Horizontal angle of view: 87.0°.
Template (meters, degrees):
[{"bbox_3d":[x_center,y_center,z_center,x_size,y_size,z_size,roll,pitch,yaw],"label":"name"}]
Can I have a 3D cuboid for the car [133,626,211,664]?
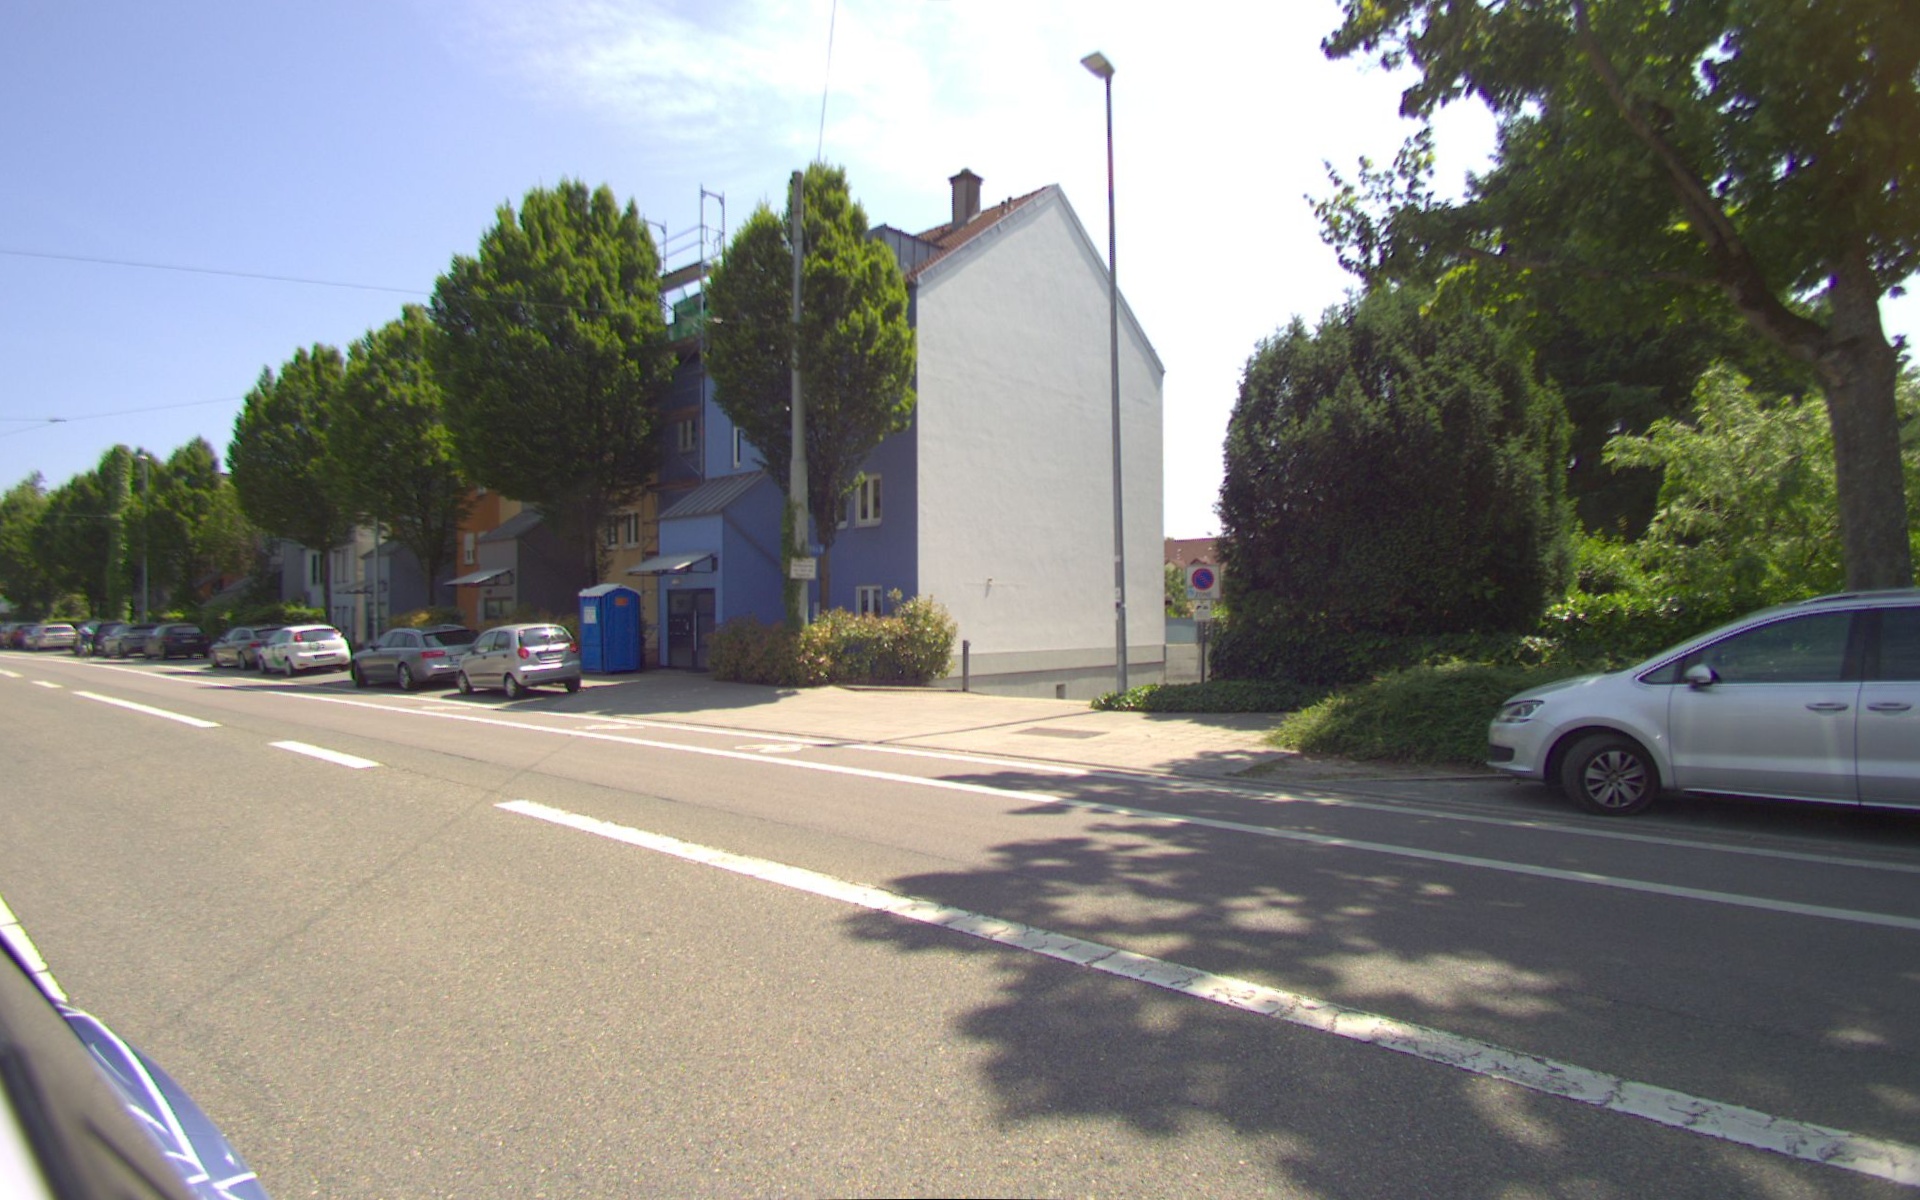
[{"bbox_3d":[-33.469,1.895,42.934,4.254,1.443,1.732,-1,1,40],"label":"car"}]

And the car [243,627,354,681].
[{"bbox_3d":[-21.024,1.660,32.099,4.417,1.453,1.729,-2,3,41],"label":"car"}]

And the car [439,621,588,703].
[{"bbox_3d":[-9.726,1.286,21.964,3.447,1.506,1.577,-2,3,41],"label":"car"}]

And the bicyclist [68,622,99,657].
[{"bbox_3d":[-37.065,1.667,42.795,1.123,1.442,0.728,-1,-5,38],"label":"bicyclist"}]

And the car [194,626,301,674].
[{"bbox_3d":[-25.104,1.723,35.583,4.744,1.440,1.688,-2,3,38],"label":"car"}]

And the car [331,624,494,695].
[{"bbox_3d":[-13.806,1.455,25.373,5.129,1.461,1.769,-2,2,40],"label":"car"}]

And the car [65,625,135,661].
[{"bbox_3d":[-42.271,2.085,49.714,4.142,1.601,1.750,-2,0,38],"label":"car"}]

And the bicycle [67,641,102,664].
[{"bbox_3d":[-37.039,2.215,42.794,2.240,0.958,0.695,-2,-4,39],"label":"bicycle"}]

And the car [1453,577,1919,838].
[{"bbox_3d":[6.474,0.702,7.461,4.778,1.677,1.853,-2,-1,41],"label":"car"}]

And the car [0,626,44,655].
[{"bbox_3d":[-56.020,2.417,60.082,3.673,1.606,1.586,-2,0,35],"label":"car"}]

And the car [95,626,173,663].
[{"bbox_3d":[-37.691,2.001,46.124,4.752,1.507,1.807,-2,0,39],"label":"car"}]

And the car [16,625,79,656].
[{"bbox_3d":[-51.164,2.279,56.713,4.490,1.594,1.823,-2,0,38],"label":"car"}]

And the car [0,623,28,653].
[{"bbox_3d":[-60.181,2.342,63.226,4.548,1.807,1.976,-1,-1,35],"label":"car"}]
